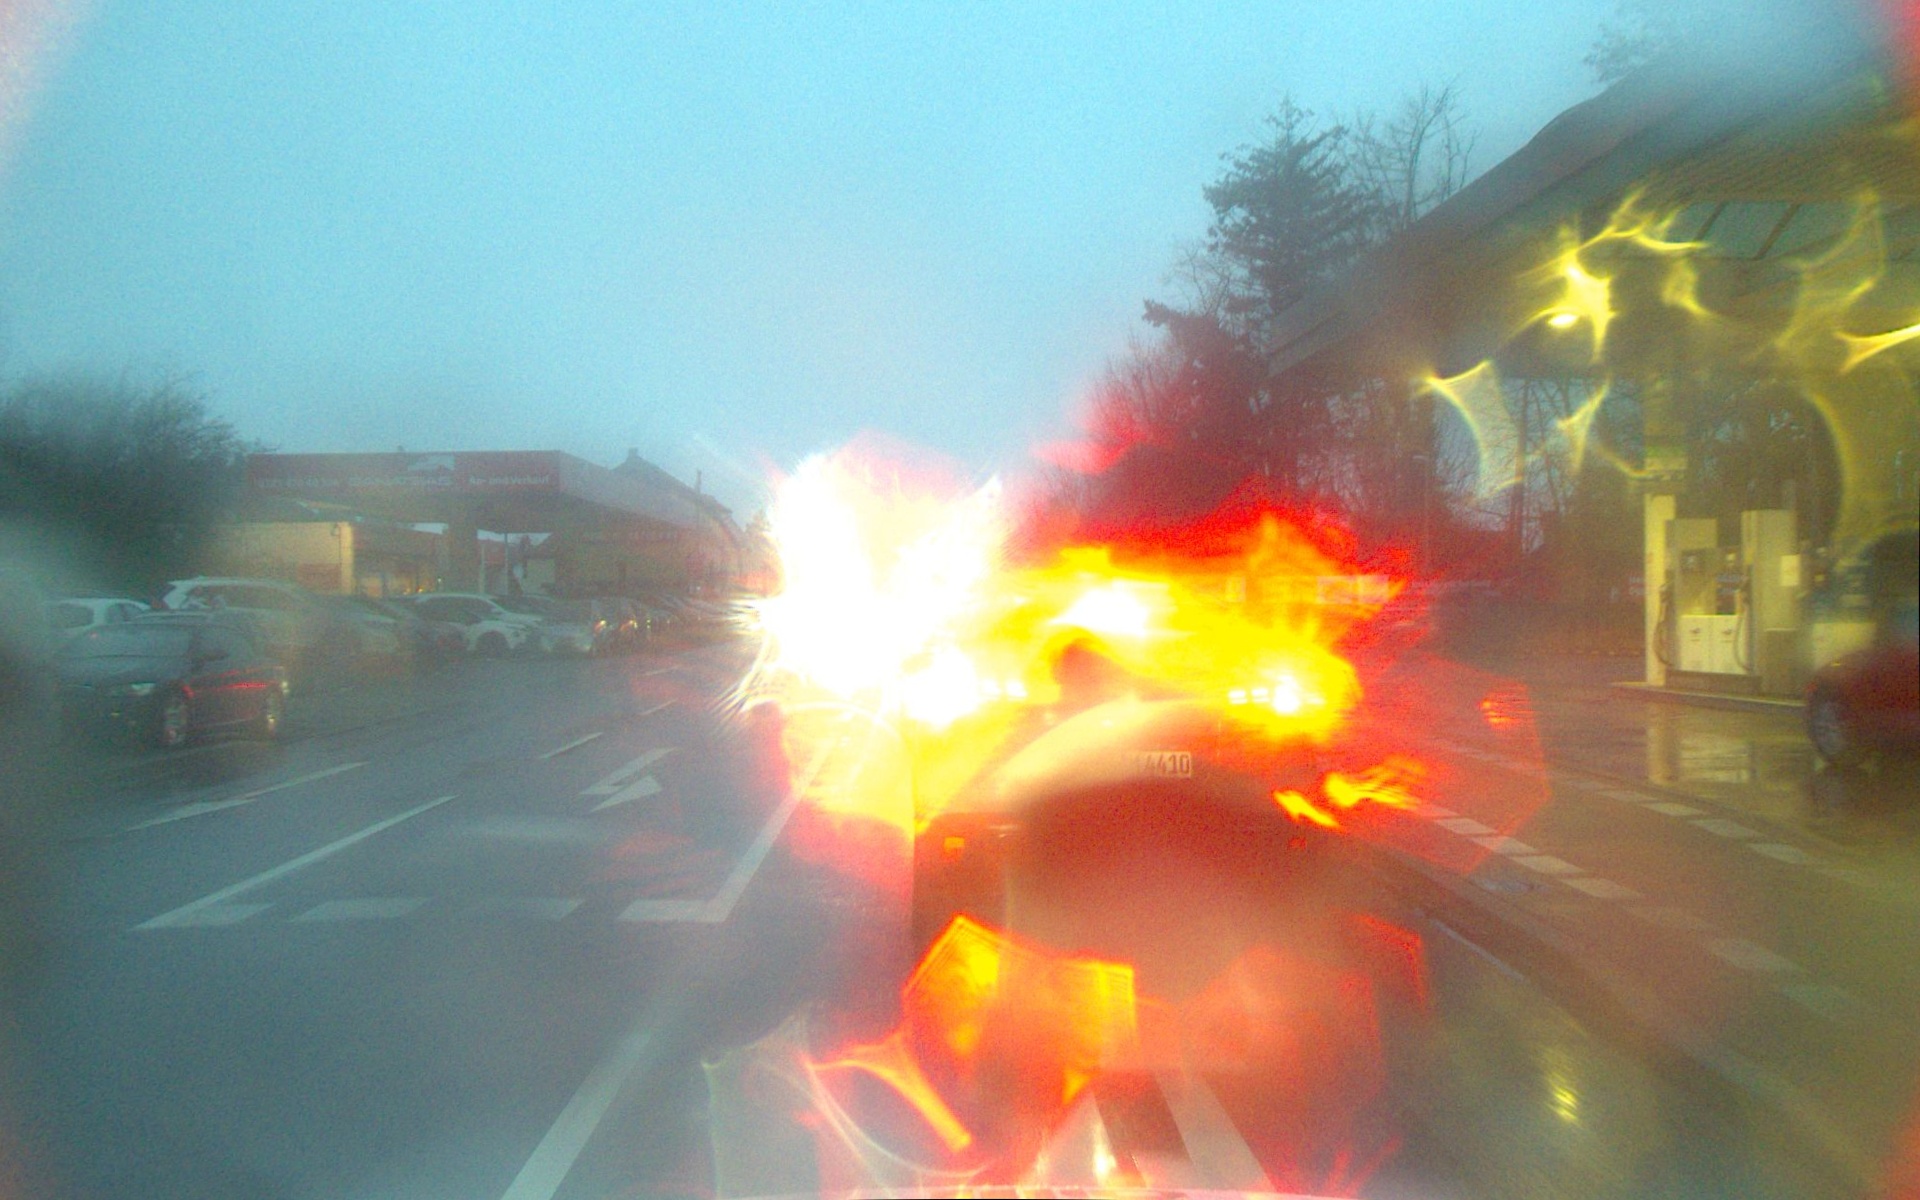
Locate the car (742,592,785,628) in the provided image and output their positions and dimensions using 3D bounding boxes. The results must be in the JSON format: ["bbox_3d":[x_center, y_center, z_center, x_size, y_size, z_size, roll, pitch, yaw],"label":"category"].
[{"bbox_3d":[-10.982,0.543,92.588,1.931,1.862,4.511,-2,0,-1],"label":"car"}]

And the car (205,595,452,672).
[{"bbox_3d":[-12.823,0.662,33.766,4.246,1.524,1.995,0,0,1],"label":"car"}]

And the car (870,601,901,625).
[{"bbox_3d":[-5.345,0.939,118.348,2.007,1.600,4.699,-1,0,-4],"label":"car"}]

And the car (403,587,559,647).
[{"bbox_3d":[-13.936,0.480,48.265,3.964,1.679,1.941,0,0,0],"label":"car"}]

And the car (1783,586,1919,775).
[{"bbox_3d":[8.086,0.609,12.480,1.541,1.421,4.167,-1,0,-2],"label":"car"}]

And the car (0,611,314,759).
[{"bbox_3d":[-8.482,0.870,17.872,1.539,1.345,4.253,-2,-2,-4],"label":"car"}]

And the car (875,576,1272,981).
[{"bbox_3d":[0.408,0.689,8.392,1.533,1.556,4.005,0,0,-1],"label":"car"}]

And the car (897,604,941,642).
[{"bbox_3d":[-1.535,0.832,62.274,1.620,1.359,4.271,0,0,-1],"label":"car"}]

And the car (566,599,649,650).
[{"bbox_3d":[-10.415,0.703,49.078,1.648,1.445,3.740,0,0,0],"label":"car"}]

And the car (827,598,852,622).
[{"bbox_3d":[-8.354,0.696,114.896,1.571,1.561,3.998,-2,0,-2],"label":"car"}]

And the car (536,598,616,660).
[{"bbox_3d":[-10.346,0.761,44.711,1.487,1.570,3.014,-2,0,-2],"label":"car"}]

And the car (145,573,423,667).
[{"bbox_3d":[-12.658,0.363,31.239,4.446,1.706,2.008,0,0,-6],"label":"car"}]

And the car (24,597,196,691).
[{"bbox_3d":[-16.587,0.810,32.456,1.636,1.706,3.704,0,0,-4],"label":"car"}]

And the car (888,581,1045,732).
[{"bbox_3d":[0.030,0.599,19.995,1.673,1.603,4.463,0,0,-1],"label":"car"}]

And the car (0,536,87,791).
[{"bbox_3d":[-8.618,0.513,12.347,1.797,2.048,4.484,0,0,0],"label":"car"}]

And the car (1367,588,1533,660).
[{"bbox_3d":[11.794,0.534,39.655,1.986,1.636,4.451,-1,0,44],"label":"car"}]

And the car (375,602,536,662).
[{"bbox_3d":[-13.154,0.818,43.325,3.697,1.485,1.775,1,0,-4],"label":"car"}]

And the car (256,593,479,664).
[{"bbox_3d":[-12.949,0.604,36.326,4.248,1.524,1.825,0,0,-1],"label":"car"}]

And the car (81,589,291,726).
[{"bbox_3d":[-10.181,0.701,21.938,1.147,1.673,2.872,-1,0,7],"label":"car"}]

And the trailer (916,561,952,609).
[{"bbox_3d":[-1.961,-1.015,119.975,2.438,3.297,10.863,0,0,-2],"label":"trailer"}]

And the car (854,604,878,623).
[{"bbox_3d":[-9.179,1.291,161.394,1.952,1.777,4.001,-2,0,2],"label":"car"}]
